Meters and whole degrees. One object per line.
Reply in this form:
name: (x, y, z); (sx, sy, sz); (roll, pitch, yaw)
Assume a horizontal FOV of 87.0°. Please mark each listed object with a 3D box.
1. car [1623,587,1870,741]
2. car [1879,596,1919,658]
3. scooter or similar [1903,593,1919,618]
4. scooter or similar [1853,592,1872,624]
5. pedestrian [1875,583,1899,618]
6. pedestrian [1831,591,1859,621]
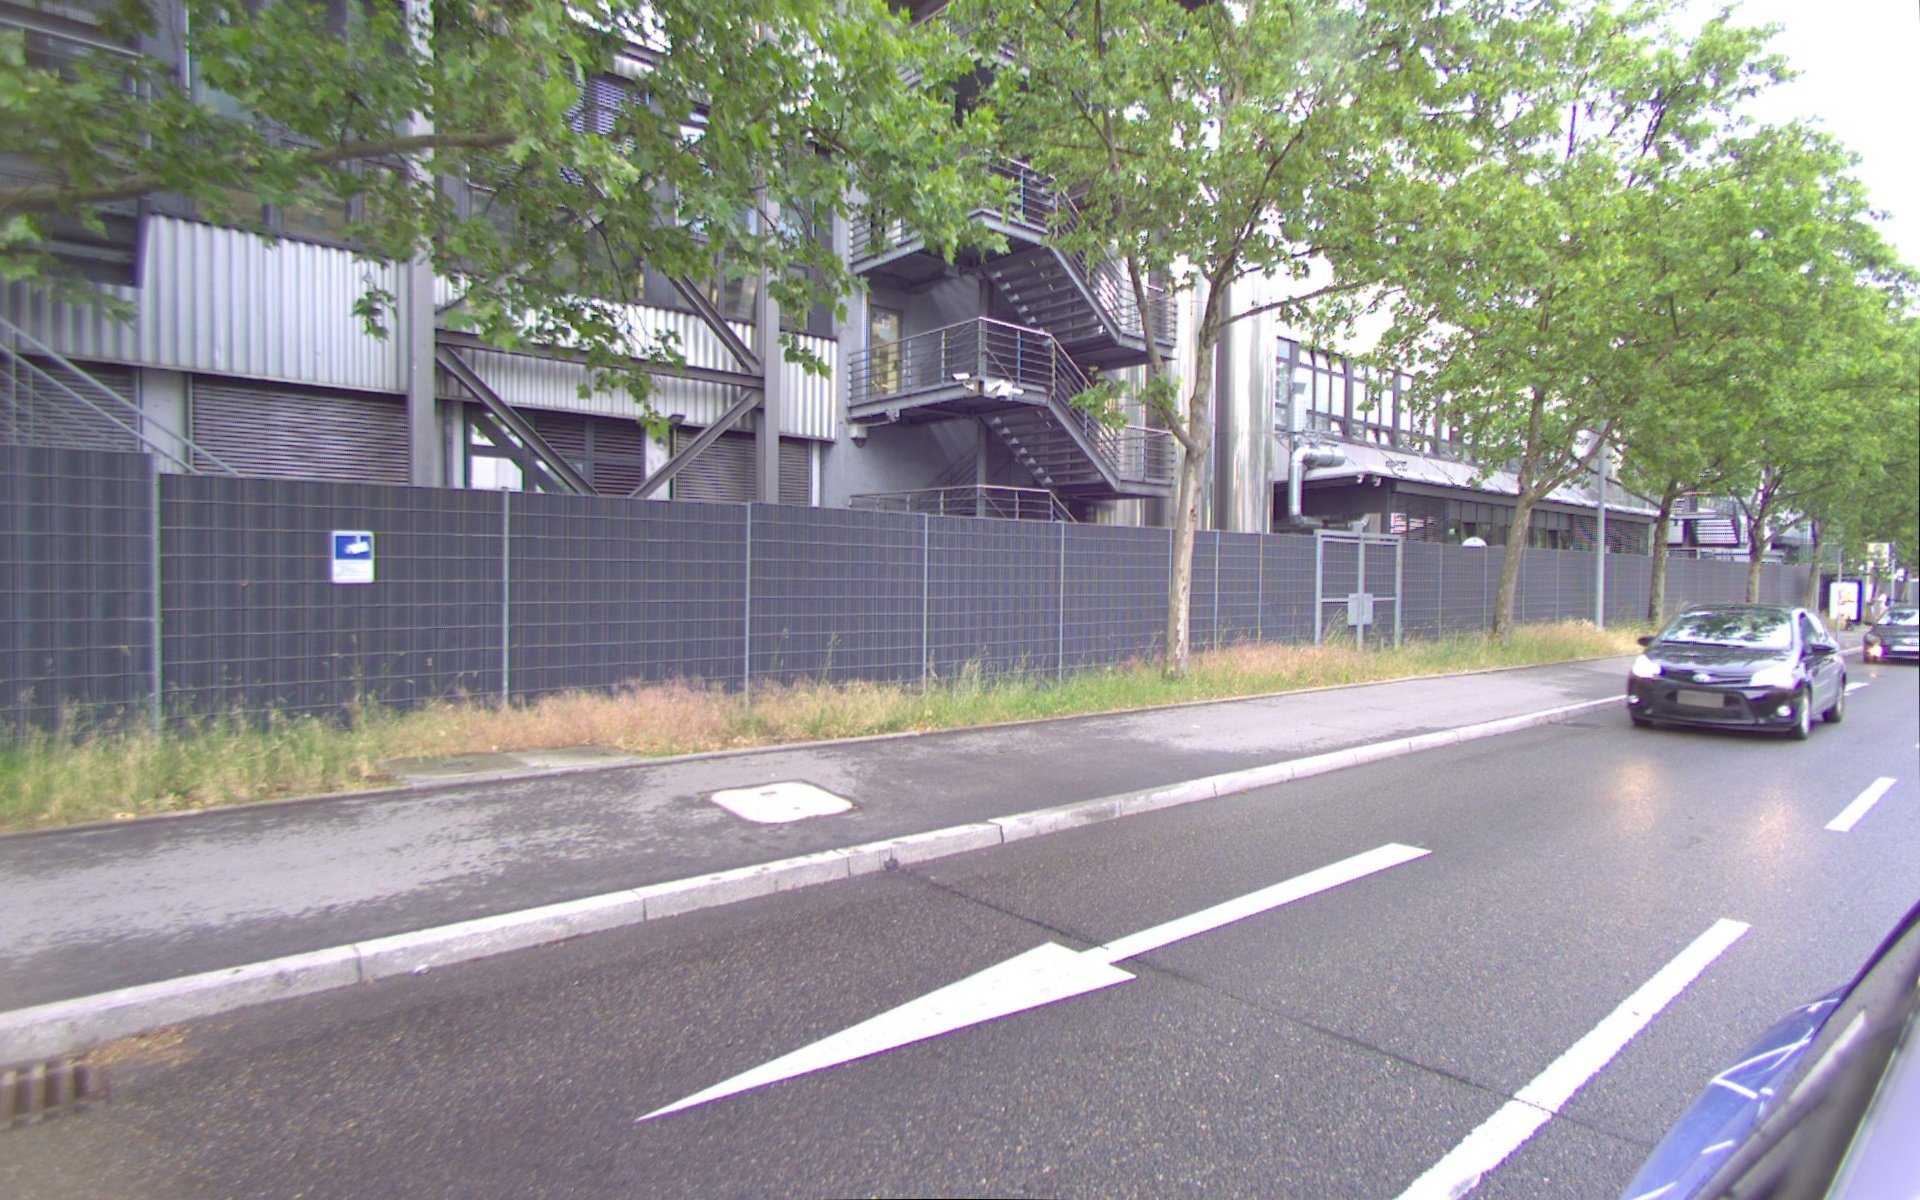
car: (9.761, 0.633, 12.444); (4.010, 1.512, 1.877); (0, 3, -45)
car: (24.628, 0.633, 25.475); (4.705, 1.471, 1.840); (0, 0, -43)
scooter or similar: (51.003, 0.273, 54.246); (1.277, 1.311, 0.437); (0, 1, -39)
scooter or similar: (37.378, 0.316, 41.929); (1.222, 1.325, 0.329); (0, 1, -37)
pedestrian: (46.409, 0.027, 50.677); (0.717, 1.731, 0.777); (0, 1, -42)
pedestrian: (42.924, 0.297, 49.093); (0.686, 1.433, 0.932); (0, 1, -42)
